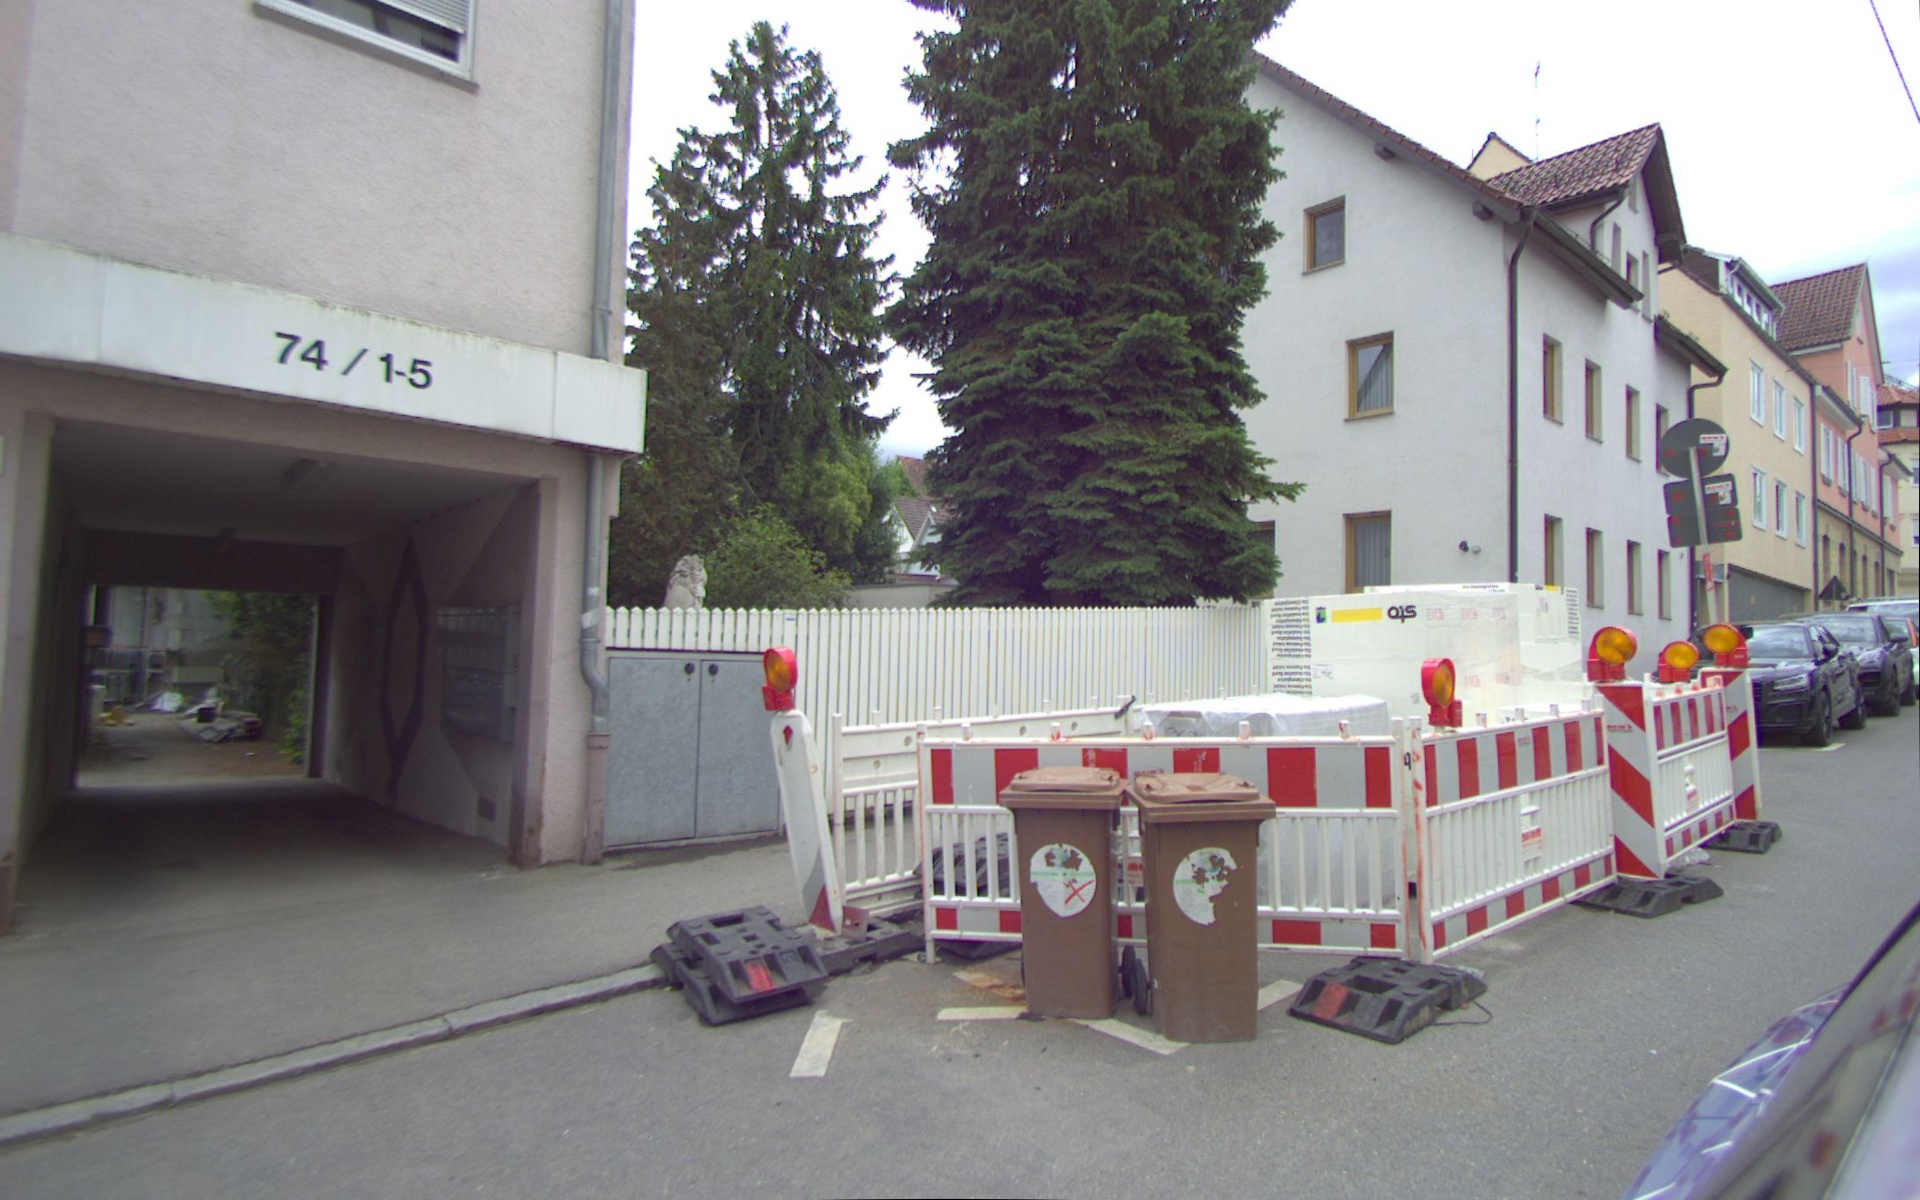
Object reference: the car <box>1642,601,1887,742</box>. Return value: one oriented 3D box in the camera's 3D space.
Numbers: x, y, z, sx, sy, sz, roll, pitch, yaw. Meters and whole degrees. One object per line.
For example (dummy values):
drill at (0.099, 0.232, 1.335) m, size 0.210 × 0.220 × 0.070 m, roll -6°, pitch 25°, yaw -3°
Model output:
car at (10.662, 0.870, 13.325) m, size 4.001 × 1.586 × 1.717 m, roll 1°, pitch -4°, yaw -40°

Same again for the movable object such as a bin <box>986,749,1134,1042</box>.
movable object such as a bin at (0.402, 1.123, 3.993) m, size 0.445 × 0.990 × 0.397 m, roll 1°, pitch -2°, yaw 25°

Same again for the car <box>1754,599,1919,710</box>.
car at (14.794, 0.866, 16.834) m, size 4.421 × 1.617 × 1.715 m, roll 1°, pitch -4°, yaw -42°

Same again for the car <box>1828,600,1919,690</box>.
car at (18.085, 0.864, 19.640) m, size 2.742 × 1.617 × 1.488 m, roll 1°, pitch -4°, yaw -42°

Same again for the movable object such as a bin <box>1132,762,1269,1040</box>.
movable object such as a bin at (0.877, 1.084, 3.749) m, size 0.356 × 0.904 × 0.401 m, roll -1°, pitch -3°, yaw -3°

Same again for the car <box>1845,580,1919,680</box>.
car at (21.839, 0.666, 22.880) m, size 5.632 × 2.056 × 1.908 m, roll 1°, pitch -4°, yaw -41°
